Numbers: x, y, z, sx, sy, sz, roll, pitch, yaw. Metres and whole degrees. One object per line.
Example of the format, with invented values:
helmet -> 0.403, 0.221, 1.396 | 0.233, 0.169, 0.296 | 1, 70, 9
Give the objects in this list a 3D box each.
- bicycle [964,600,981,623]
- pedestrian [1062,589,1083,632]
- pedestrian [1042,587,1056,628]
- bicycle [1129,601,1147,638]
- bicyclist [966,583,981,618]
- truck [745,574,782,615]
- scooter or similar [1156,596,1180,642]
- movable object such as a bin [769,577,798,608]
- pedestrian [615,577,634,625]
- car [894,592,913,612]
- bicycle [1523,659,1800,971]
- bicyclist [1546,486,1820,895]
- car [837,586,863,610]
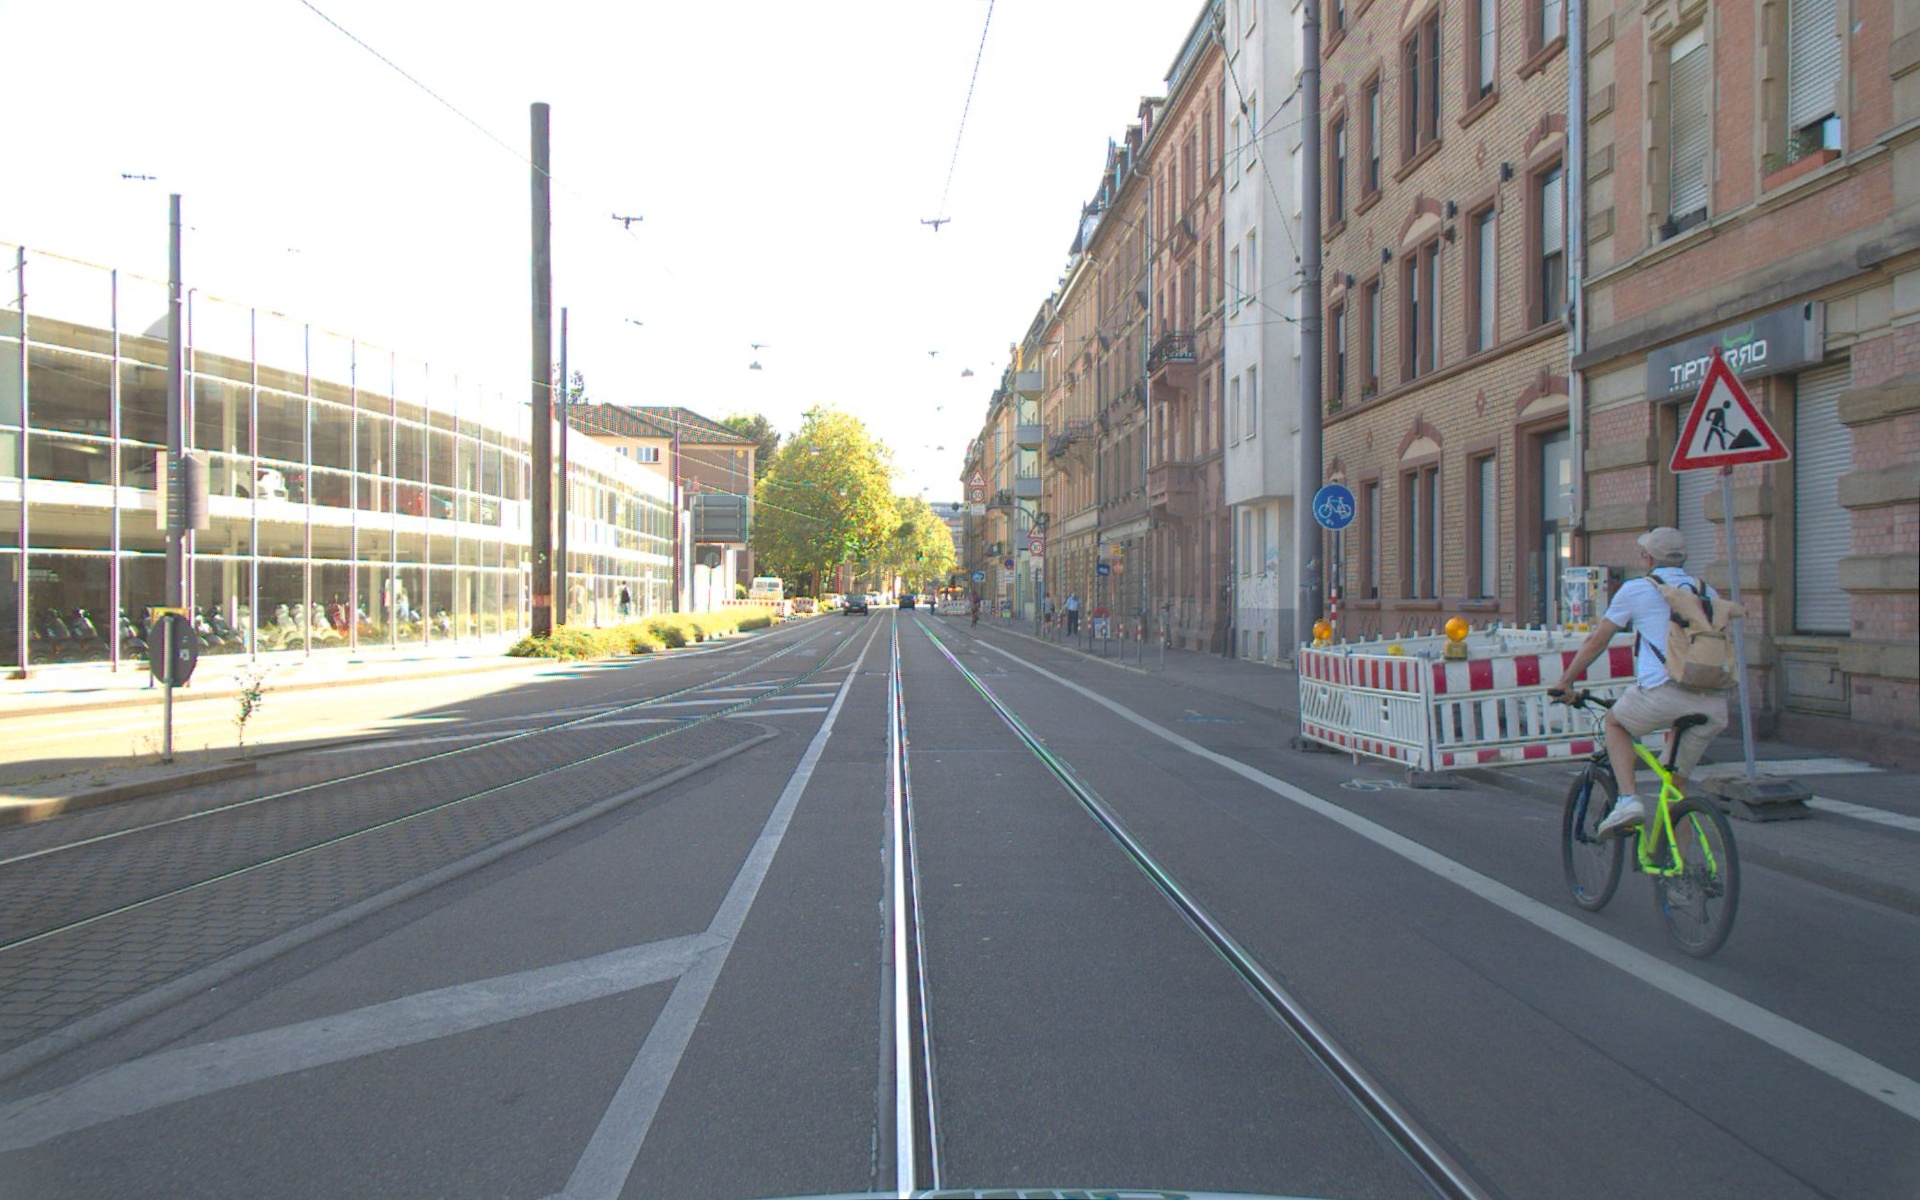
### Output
bicycle -> 0.617, 0.556, 82.913 | 0.667, 1.134, 2.705 | 2, 0, -3
pedestrian -> 4.355, 0.407, 63.948 | 0.782, 1.633, 0.652 | 0, -1, 0
pedestrian -> 3.765, 0.310, 70.052 | 0.541, 1.730, 0.474 | -2, 0, 3
bicycle -> 5.574, 0.602, 51.783 | 0.401, 1.141, 1.898 | -2, -1, 2
bicyclist -> 0.648, 0.022, 82.439 | 0.654, 1.726, 1.042 | 2, -1, -3
truck -> -14.418, -0.379, 121.673 | 2.489, 2.879, 6.368 | 2, 0, -6
scooter or similar -> 5.748, 0.517, 45.682 | 0.398, 1.232, 1.480 | -1, 0, -2
movable object such as a bin -> -16.245, -0.696, 152.720 | 2.446, 2.691, 5.983 | 2, 0, -5
pedestrian -> -12.977, 0.040, 64.054 | 0.516, 1.795, 1.050 | 2, -1, -2
car -> -6.076, 0.248, 178.343 | 1.953, 2.049, 3.998 | 2, 0, -2
bicycle -> 3.192, 0.913, 7.721 | 0.520, 1.137, 1.935 | 2, 2, 3
bicyclist -> 3.257, 0.388, 7.550 | 0.667, 1.713, 1.119 | 2, -1, -5
car -> -8.318, -0.128, 125.091 | 1.723, 1.726, 4.142 | 2, 0, -1
